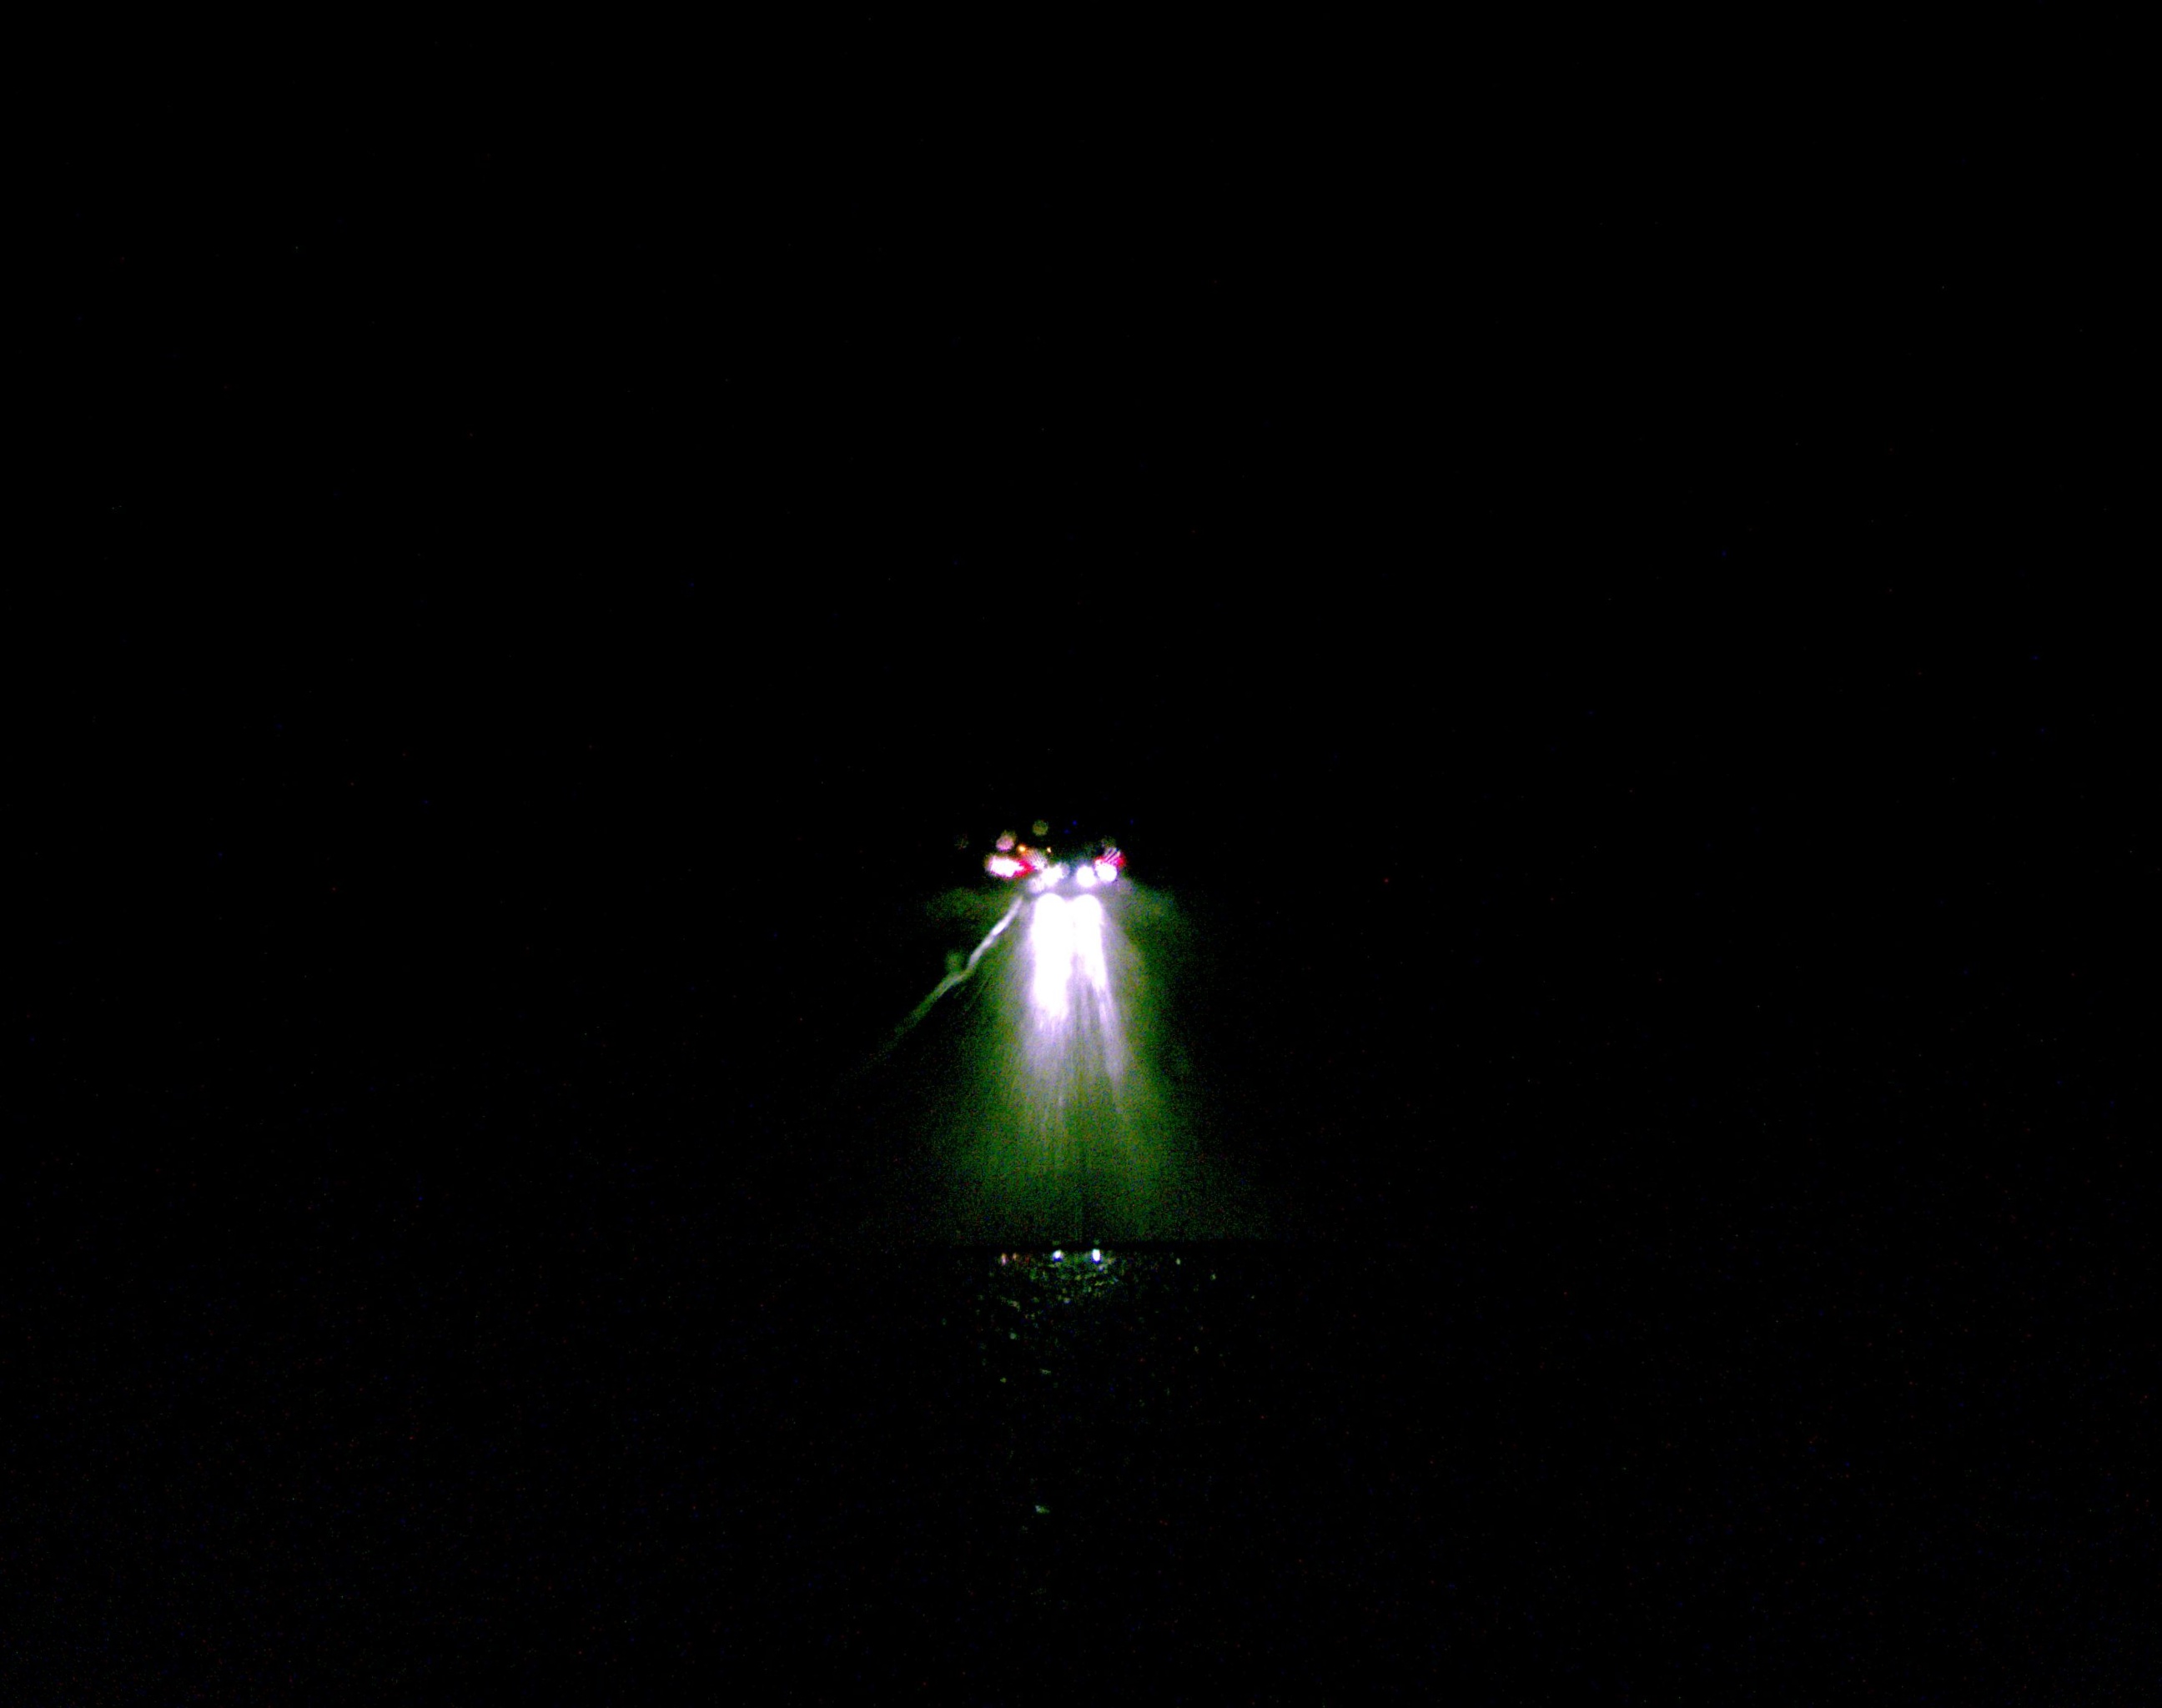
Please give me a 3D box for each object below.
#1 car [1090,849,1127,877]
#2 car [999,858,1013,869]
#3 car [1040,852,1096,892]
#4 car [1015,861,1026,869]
[{"bbox_3d":[1.748,0.586,49.822,1.848,1.710,3.957,0,0,-7],"label":"car"},{"bbox_3d":[-11.037,1.429,111.637,1.902,1.551,3.997,2,-1,-8],"label":"car"},{"bbox_3d":[-0.622,0.753,32.906,1.902,1.551,3.997,2,-1,-8],"label":"car"},{"bbox_3d":[-11.217,2.003,140.811,1.761,1.397,4.485,0,-1,-8],"label":"car"}]
